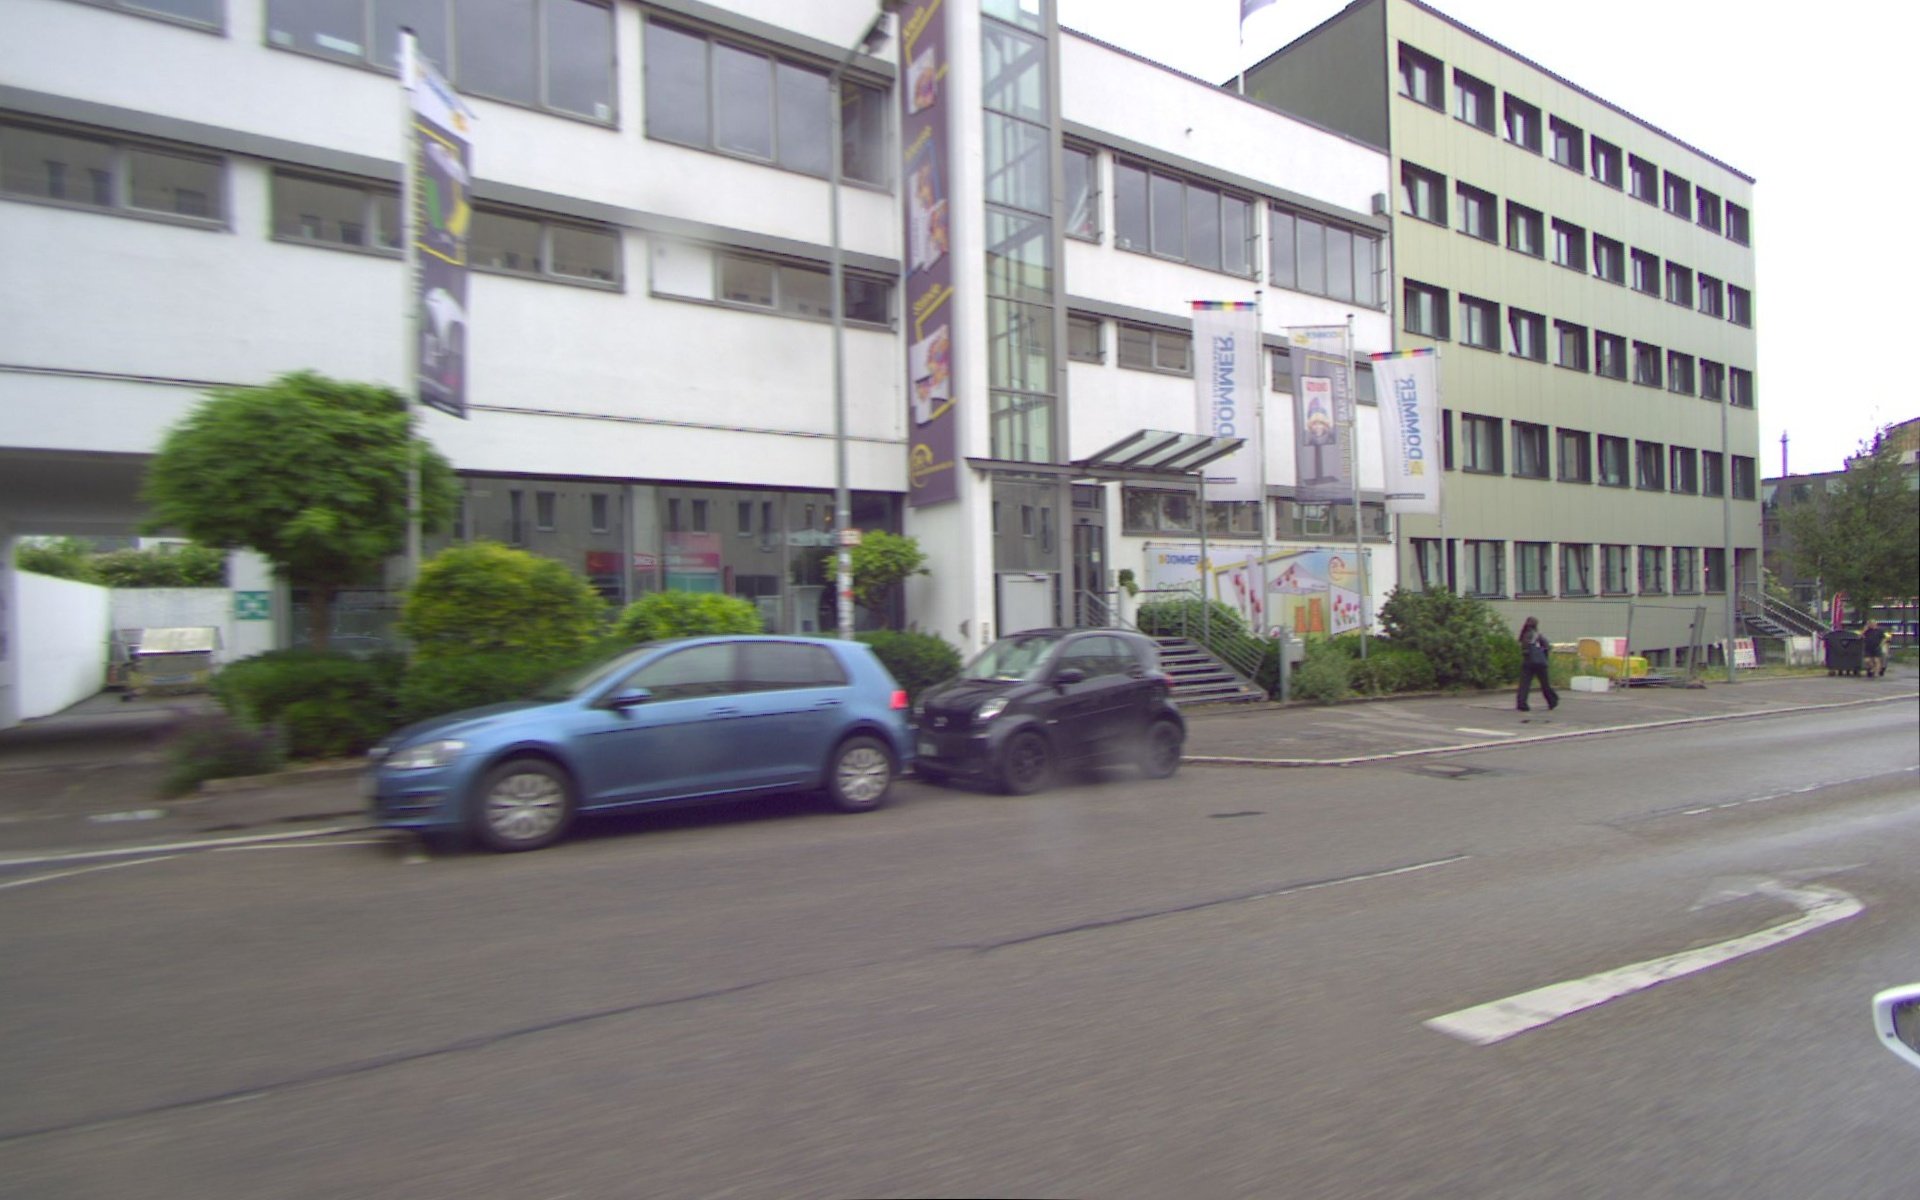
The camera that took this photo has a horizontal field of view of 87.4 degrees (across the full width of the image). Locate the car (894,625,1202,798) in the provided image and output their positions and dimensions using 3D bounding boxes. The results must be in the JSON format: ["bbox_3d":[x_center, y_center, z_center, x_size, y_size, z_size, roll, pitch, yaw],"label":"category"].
[{"bbox_3d":[0.955,1.077,10.421,2.955,1.529,1.504,2,-5,-37],"label":"car"}]

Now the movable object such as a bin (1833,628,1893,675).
[{"bbox_3d":[29.265,1.659,32.547,1.342,1.464,1.049,2,1,-31],"label":"movable object such as a bin"}]

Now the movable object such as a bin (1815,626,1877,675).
[{"bbox_3d":[27.988,1.582,31.746,1.414,1.464,1.049,2,1,-31],"label":"movable object such as a bin"}]

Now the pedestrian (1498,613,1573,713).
[{"bbox_3d":[10.192,1.104,17.795,0.958,1.699,0.763,2,0,-31],"label":"pedestrian"}]

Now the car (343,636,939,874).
[{"bbox_3d":[-2.349,1.022,8.003,4.231,1.421,1.644,2,-4,-38],"label":"car"}]

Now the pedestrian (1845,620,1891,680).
[{"bbox_3d":[27.356,1.486,30.269,0.931,1.755,0.752,2,0,-29],"label":"pedestrian"}]
